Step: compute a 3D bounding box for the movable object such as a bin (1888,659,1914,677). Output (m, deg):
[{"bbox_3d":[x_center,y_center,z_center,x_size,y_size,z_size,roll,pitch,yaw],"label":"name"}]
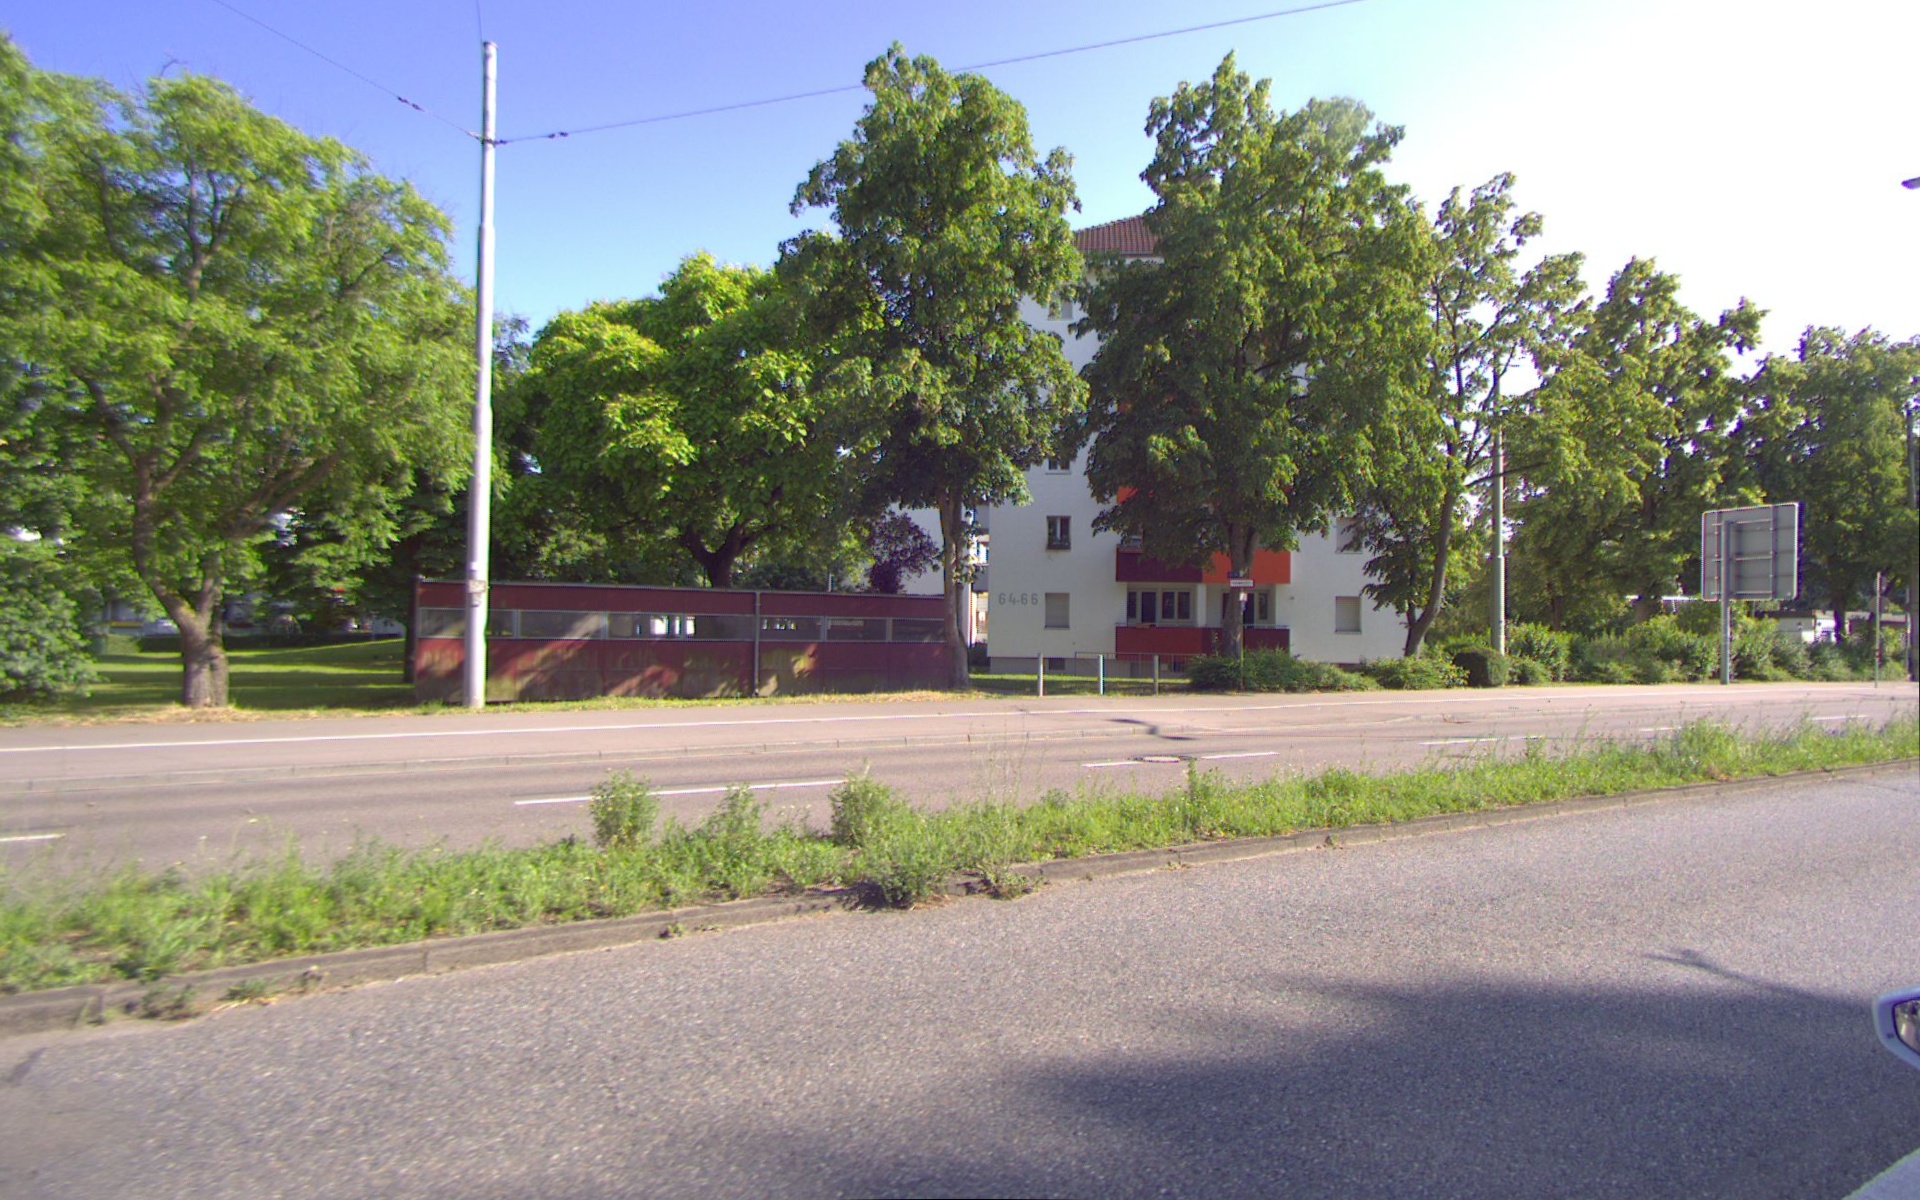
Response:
[{"bbox_3d":[51.138,3.689,54.576,0.842,0.943,0.813,2,-2,-27],"label":"movable object such as a bin"}]
